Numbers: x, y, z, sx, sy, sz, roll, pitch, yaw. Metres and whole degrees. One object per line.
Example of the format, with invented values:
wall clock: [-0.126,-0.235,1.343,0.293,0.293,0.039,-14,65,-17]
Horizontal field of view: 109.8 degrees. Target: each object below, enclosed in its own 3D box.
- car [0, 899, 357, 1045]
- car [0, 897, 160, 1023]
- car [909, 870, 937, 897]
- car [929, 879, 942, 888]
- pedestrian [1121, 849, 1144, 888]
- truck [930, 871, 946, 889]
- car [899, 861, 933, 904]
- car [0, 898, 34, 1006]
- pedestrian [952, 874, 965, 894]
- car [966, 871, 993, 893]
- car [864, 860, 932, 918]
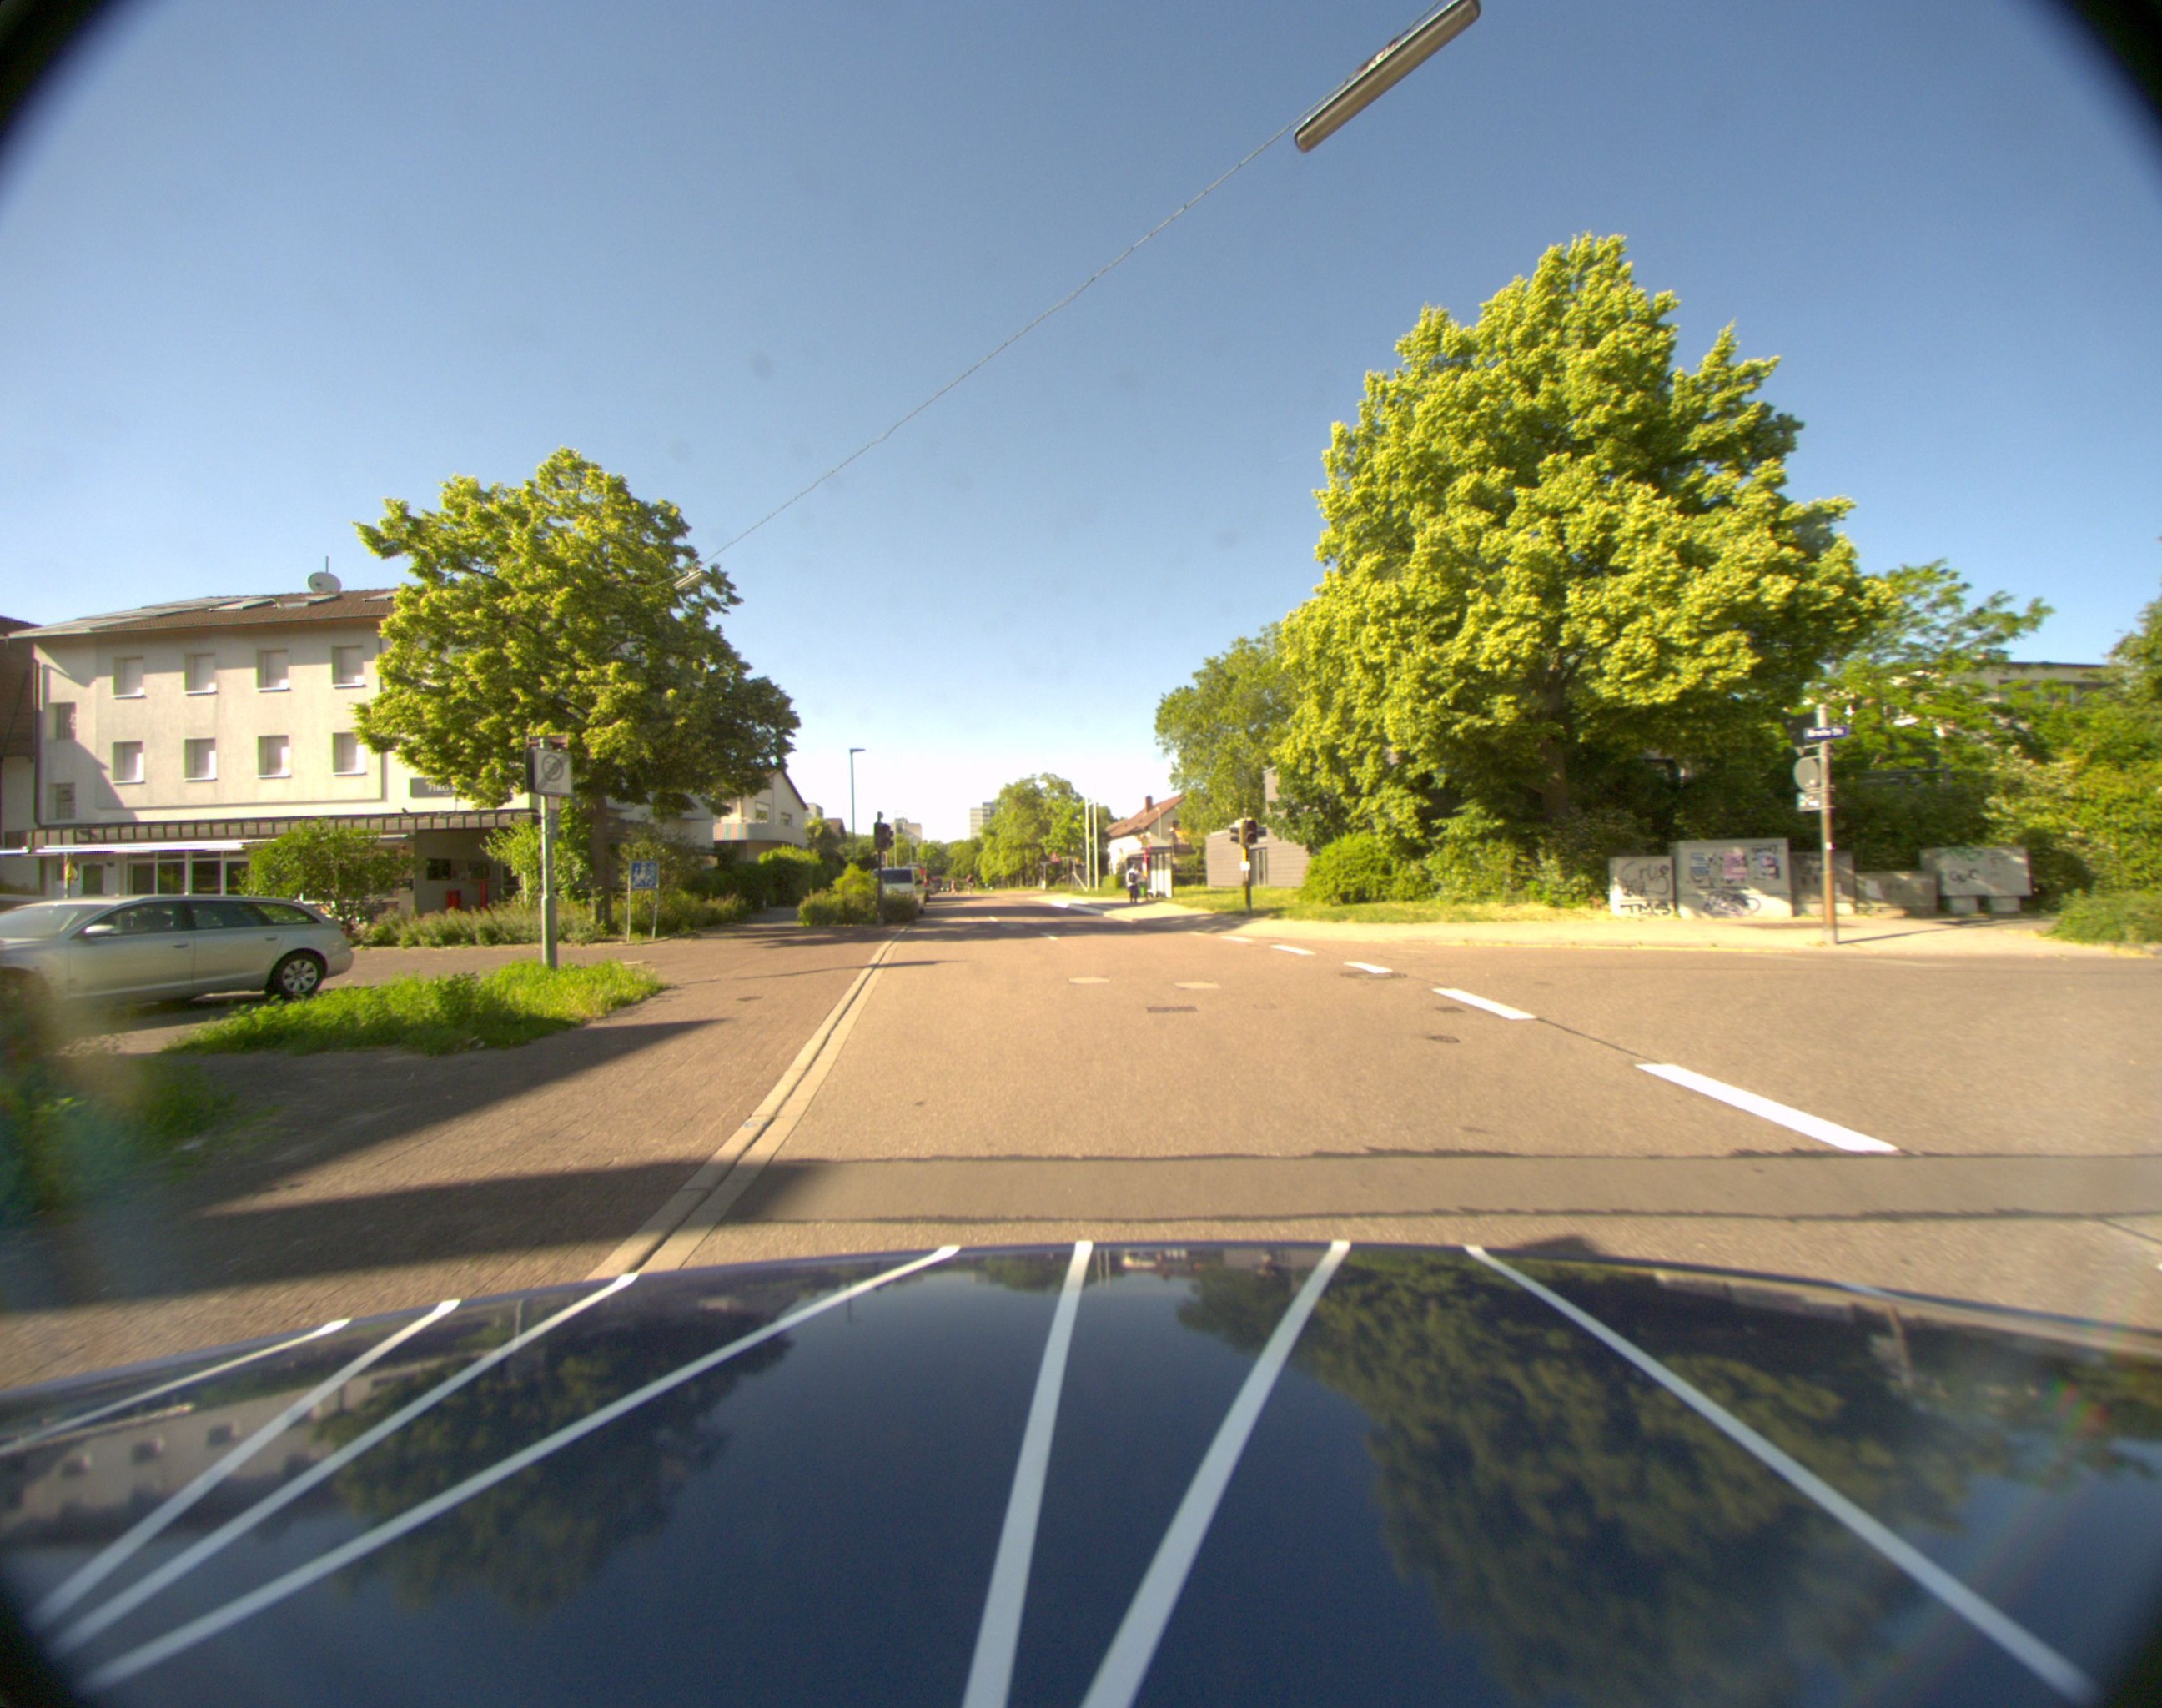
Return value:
car: [-11.697,1.275,8.775,1.998,1.412,4.805,-1,-3,1]
car: [-14.018,1.257,8.509,1.711,1.508,4.409,-1,-3,9]
car: [-11.797,2.194,57.060,1.863,1.837,4.557,-3,-1,-11]
car: [-26.238,5.361,137.131,2.000,1.587,4.576,-1,-2,-8]
pedestrian: [2.440,0.697,35.912,0.716,1.792,0.772,-2,1,30]
truck: [-35.928,6.550,191.293,3.605,4.542,10.018,-1,-2,-10]
car: [-10.737,1.829,49.455,1.964,2.628,5.219,-2,-1,-13]
car: [-16.723,1.354,9.214,1.711,1.541,4.409,-2,-3,9]
pedestrian: [-10.292,2.530,63.917,0.835,1.577,0.632,2,1,8]
car: [-9.637,2.625,71.990,1.967,1.908,4.573,-1,-1,-14]
car: [-7.165,1.348,30.150,2.000,2.066,4.576,-1,-2,-6]
